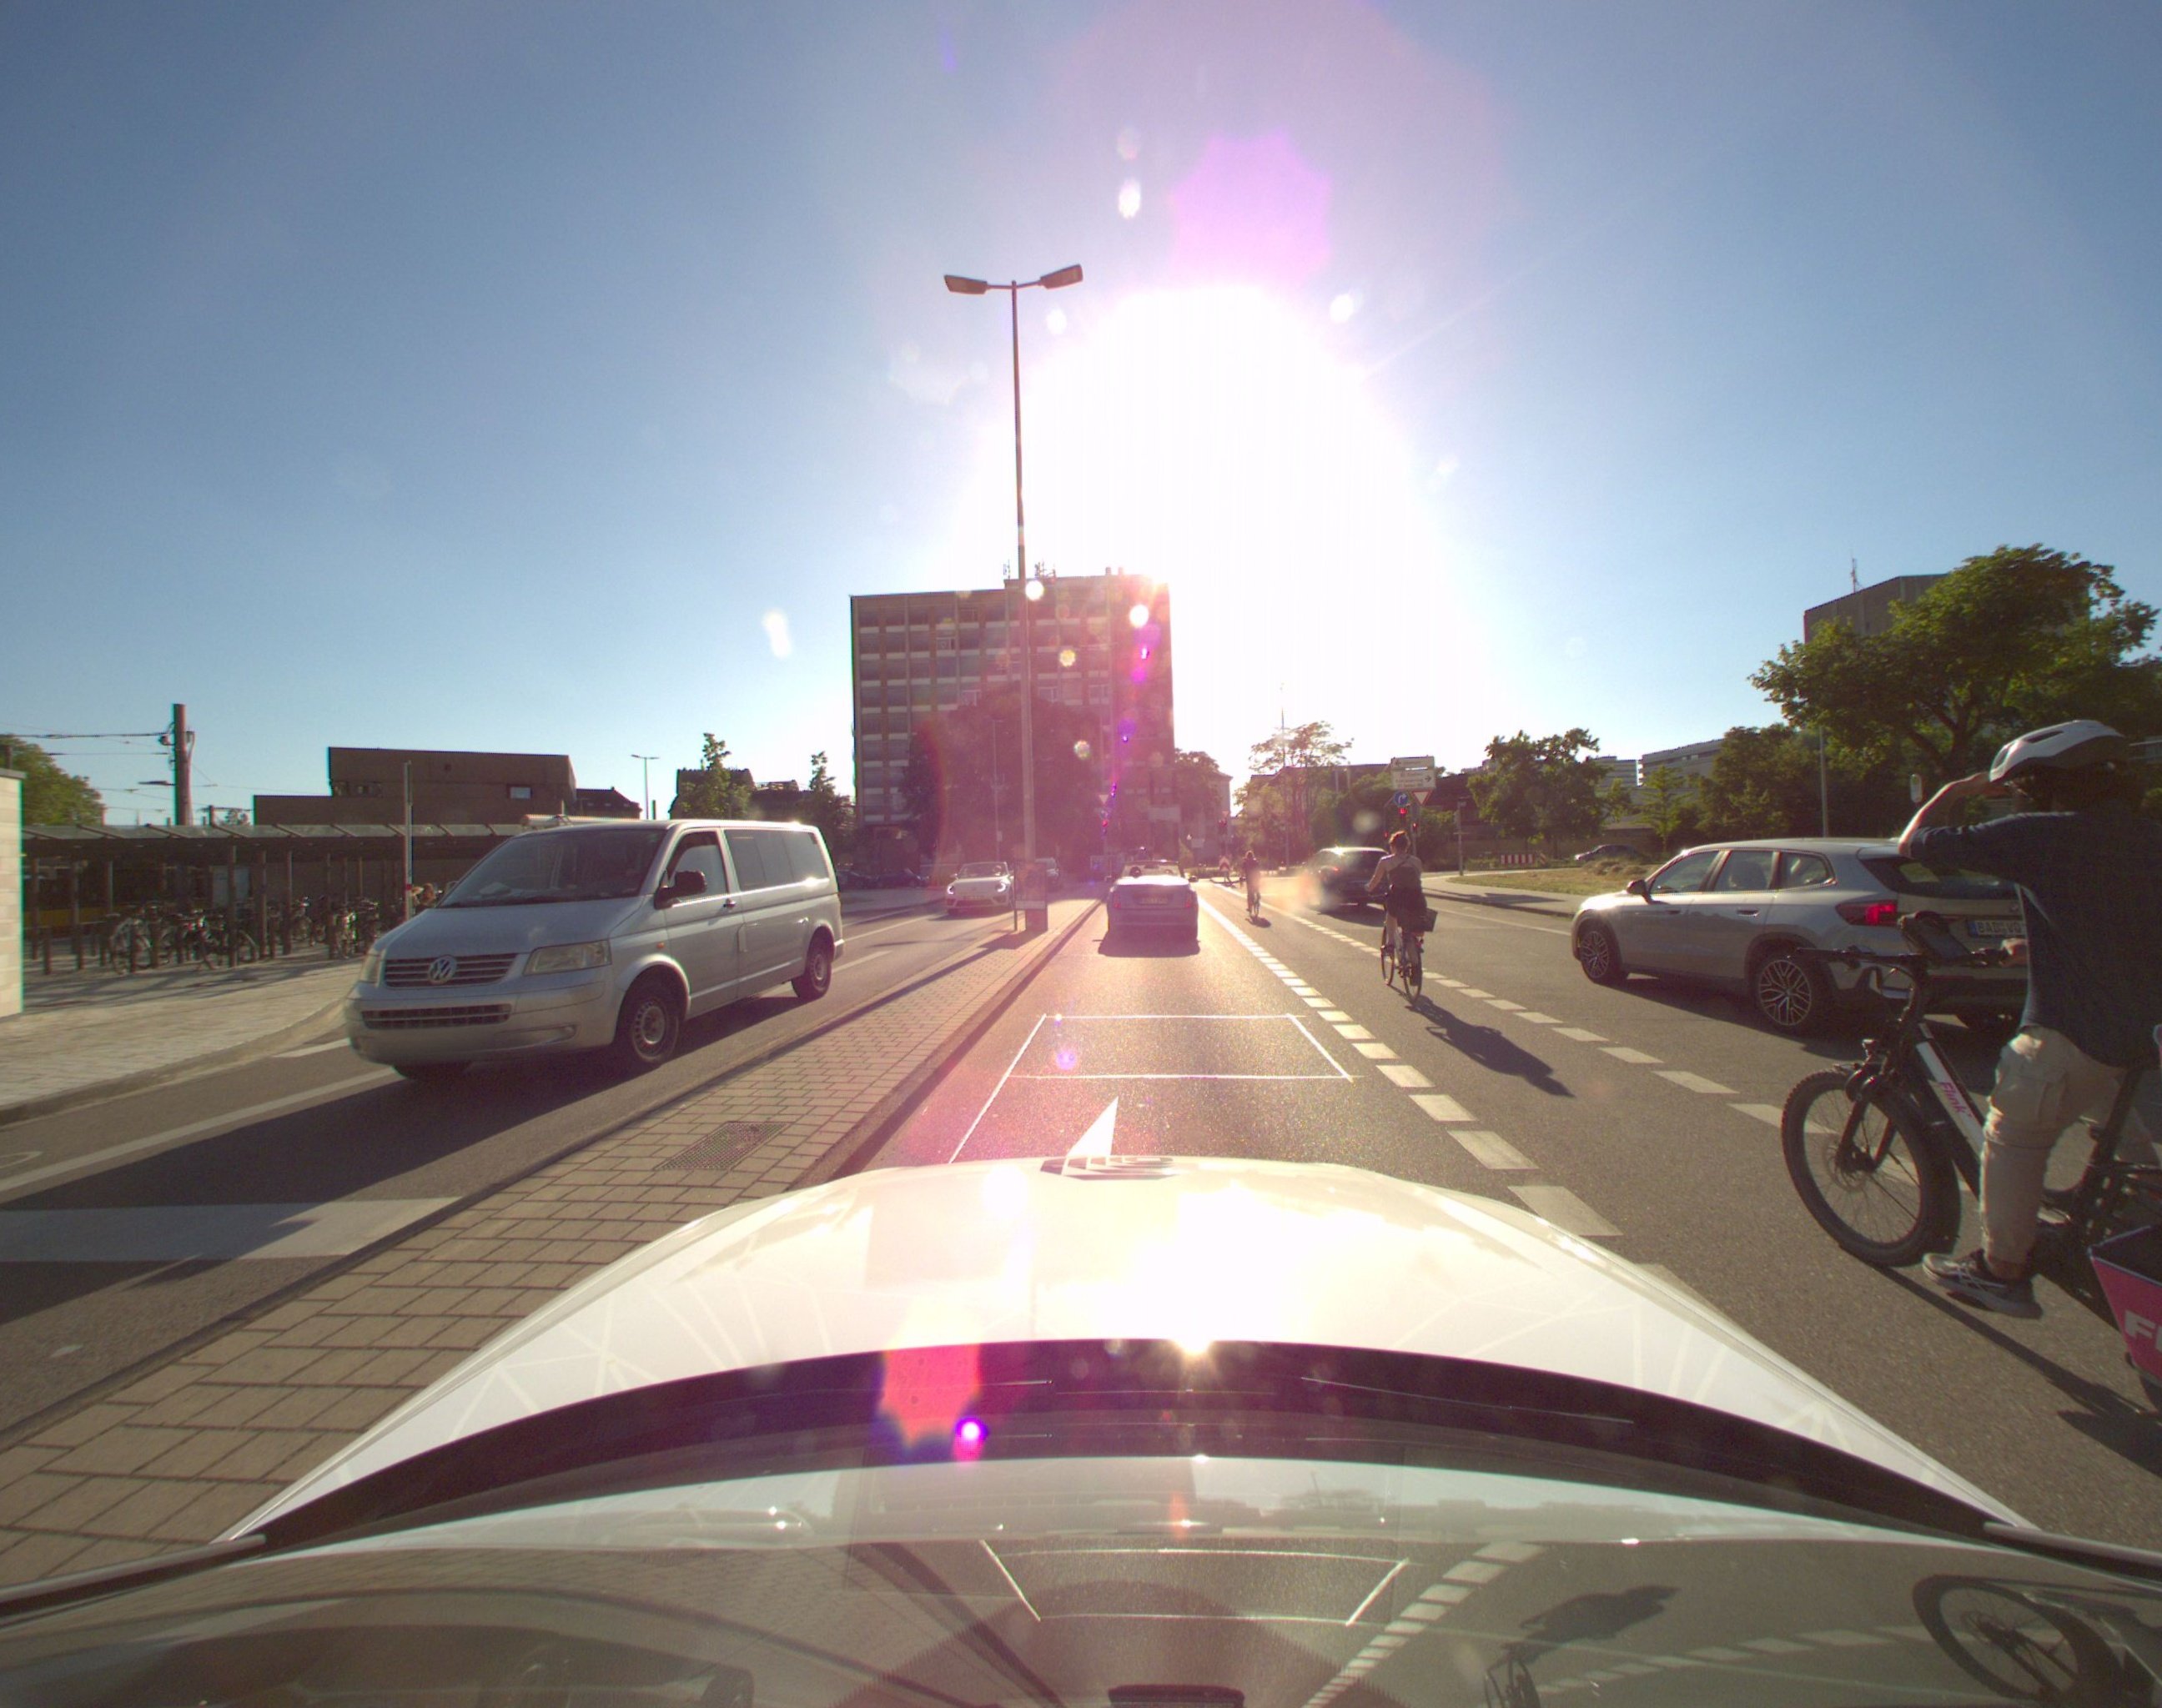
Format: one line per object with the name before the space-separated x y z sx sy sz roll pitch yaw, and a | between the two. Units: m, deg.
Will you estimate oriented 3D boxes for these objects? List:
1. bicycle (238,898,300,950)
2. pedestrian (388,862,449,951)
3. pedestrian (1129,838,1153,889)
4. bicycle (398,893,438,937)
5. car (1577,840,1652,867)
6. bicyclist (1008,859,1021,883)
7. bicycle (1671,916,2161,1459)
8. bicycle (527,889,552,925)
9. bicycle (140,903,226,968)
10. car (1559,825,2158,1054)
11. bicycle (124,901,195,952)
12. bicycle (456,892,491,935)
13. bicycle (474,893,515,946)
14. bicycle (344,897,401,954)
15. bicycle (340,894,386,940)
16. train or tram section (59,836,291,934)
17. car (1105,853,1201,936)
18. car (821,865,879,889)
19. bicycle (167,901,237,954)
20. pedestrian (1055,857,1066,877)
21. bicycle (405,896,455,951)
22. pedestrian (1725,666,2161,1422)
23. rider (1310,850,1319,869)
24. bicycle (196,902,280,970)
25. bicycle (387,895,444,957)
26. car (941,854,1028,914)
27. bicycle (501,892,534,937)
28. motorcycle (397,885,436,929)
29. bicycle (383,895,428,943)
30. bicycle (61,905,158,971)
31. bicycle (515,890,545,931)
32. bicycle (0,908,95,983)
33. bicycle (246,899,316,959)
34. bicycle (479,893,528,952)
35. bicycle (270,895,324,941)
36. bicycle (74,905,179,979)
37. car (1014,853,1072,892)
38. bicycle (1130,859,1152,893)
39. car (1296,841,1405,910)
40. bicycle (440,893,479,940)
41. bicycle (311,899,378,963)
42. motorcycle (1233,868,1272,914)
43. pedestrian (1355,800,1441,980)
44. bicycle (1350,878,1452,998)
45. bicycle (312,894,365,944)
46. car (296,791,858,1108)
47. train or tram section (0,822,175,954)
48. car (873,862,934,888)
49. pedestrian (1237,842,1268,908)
bicycle | -19.569 1.659 19.666 0.611 1.115 1.878 1 -2 -31
pedestrian | -14.243 1.104 17.526 0.907 1.869 0.680 1 -2 -32
pedestrian | 2.231 0.354 30.234 0.828 1.869 0.923 0 -1 8
bicycle | -18.441 1.669 22.678 0.611 1.115 1.878 1 -2 -31
car | 33.950 -0.025 51.903 3.613 1.560 1.656 -2 0 13
bicyclist | -4.567 1.153 55.662 0.747 1.598 0.591 -1 -1 11
bicycle | 2.821 0.837 2.384 0.552 1.171 2.374 0 -1 3
bicycle | -17.905 1.742 26.956 0.611 1.115 1.878 1 -2 -31
bicycle | -17.579 1.559 15.988 0.611 1.115 1.878 1 -2 -31
car | 6.696 0.631 7.865 1.779 1.594 4.332 0 -1 3
bicycle | -22.686 1.755 20.080 0.611 1.115 1.878 1 -2 -31
bicycle | -17.317 1.677 23.247 0.611 1.115 1.878 1 -2 -31
bicycle | -13.551 1.490 18.851 0.611 1.115 1.878 1 -2 -31
bicycle | -15.430 1.521 17.768 0.611 1.115 1.878 1 -2 -31
bicycle | -19.487 1.685 22.129 0.611 1.115 1.878 1 -2 -31
train or tram section | -39.276 1.276 36.083 3.030 3.597 12.084 0 -1 -29
car | 1.348 0.742 16.216 1.653 1.441 4.157 0 -1 3
car | -16.787 1.648 59.200 3.616 1.560 1.604 -2 0 9
bicycle | -20.663 1.692 19.190 0.611 1.115 1.878 1 -2 -31
pedestrian | -1.918 1.178 76.288 0.863 1.869 0.664 -1 -1 16
bicycle | -14.453 1.512 18.116 0.611 1.115 1.878 1 -2 -31
pedestrian | 2.776 0.469 2.505 0.803 1.869 0.956 0 -1 0
rider | 20.107 0.506 70.202 0.746 1.598 0.592 -1 -2 16
bicycle | -15.623 1.480 15.142 0.611 1.115 1.878 1 -2 -31
bicycle | -13.414 1.414 16.453 0.611 1.115 1.878 1 -2 -31
car | -2.755 0.809 24.062 1.791 1.530 4.004 -3 0 3
bicycle | -15.282 1.613 22.119 0.611 1.115 1.878 1 -2 -31
motorcycle | -22.059 1.740 27.080 0.771 1.390 1.877 1 -2 -33
bicycle | -17.368 1.650 20.984 0.611 1.115 1.878 1 -2 -31
bicycle | -18.769 1.587 15.784 0.611 1.115 1.878 1 -2 -31
bicycle | -16.144 1.631 23.890 0.611 1.115 1.878 1 -2 -31
bicycle | -17.840 1.532 13.940 0.611 1.115 1.878 1 -2 -31
bicycle | -16.616 1.525 16.958 0.611 1.115 1.878 1 -2 -31
bicycle | -12.180 1.409 17.218 0.610 1.115 1.879 1 -1 -29
bicycle | -20.586 1.653 21.424 0.611 1.115 1.878 1 -2 -31
bicycle | -16.607 1.491 14.225 0.611 1.115 1.878 1 -2 -31
car | -1.610 0.767 35.811 1.789 1.530 4.008 -3 0 7
bicycle | 2.241 0.801 30.245 0.604 1.191 2.420 0 -1 8
car | 7.154 0.569 22.057 1.823 1.689 4.374 0 -1 5
bicycle | -16.379 1.624 21.509 0.611 1.115 1.878 1 -2 -31
bicycle | -14.381 1.468 15.953 0.611 1.115 1.878 1 -2 -31
motorcycle | 4.272 0.896 20.375 0.611 1.098 2.362 0 -1 4
pedestrian | 3.454 0.385 8.946 0.655 1.869 0.874 0 -1 6
bicycle | 3.469 0.852 8.990 0.561 1.151 1.953 0 -1 7
bicycle | -18.492 1.594 20.314 0.611 1.115 1.878 1 -2 -31
car | -3.919 0.627 7.592 1.899 1.945 4.713 -3 0 5
train or tram section | -33.252 1.023 25.597 2.900 3.597 12.078 1 -1 -31
car | -11.952 1.413 54.850 3.612 1.560 1.656 -2 0 14
pedestrian | 4.265 0.528 20.313 0.585 1.598 1.026 0 -1 3
